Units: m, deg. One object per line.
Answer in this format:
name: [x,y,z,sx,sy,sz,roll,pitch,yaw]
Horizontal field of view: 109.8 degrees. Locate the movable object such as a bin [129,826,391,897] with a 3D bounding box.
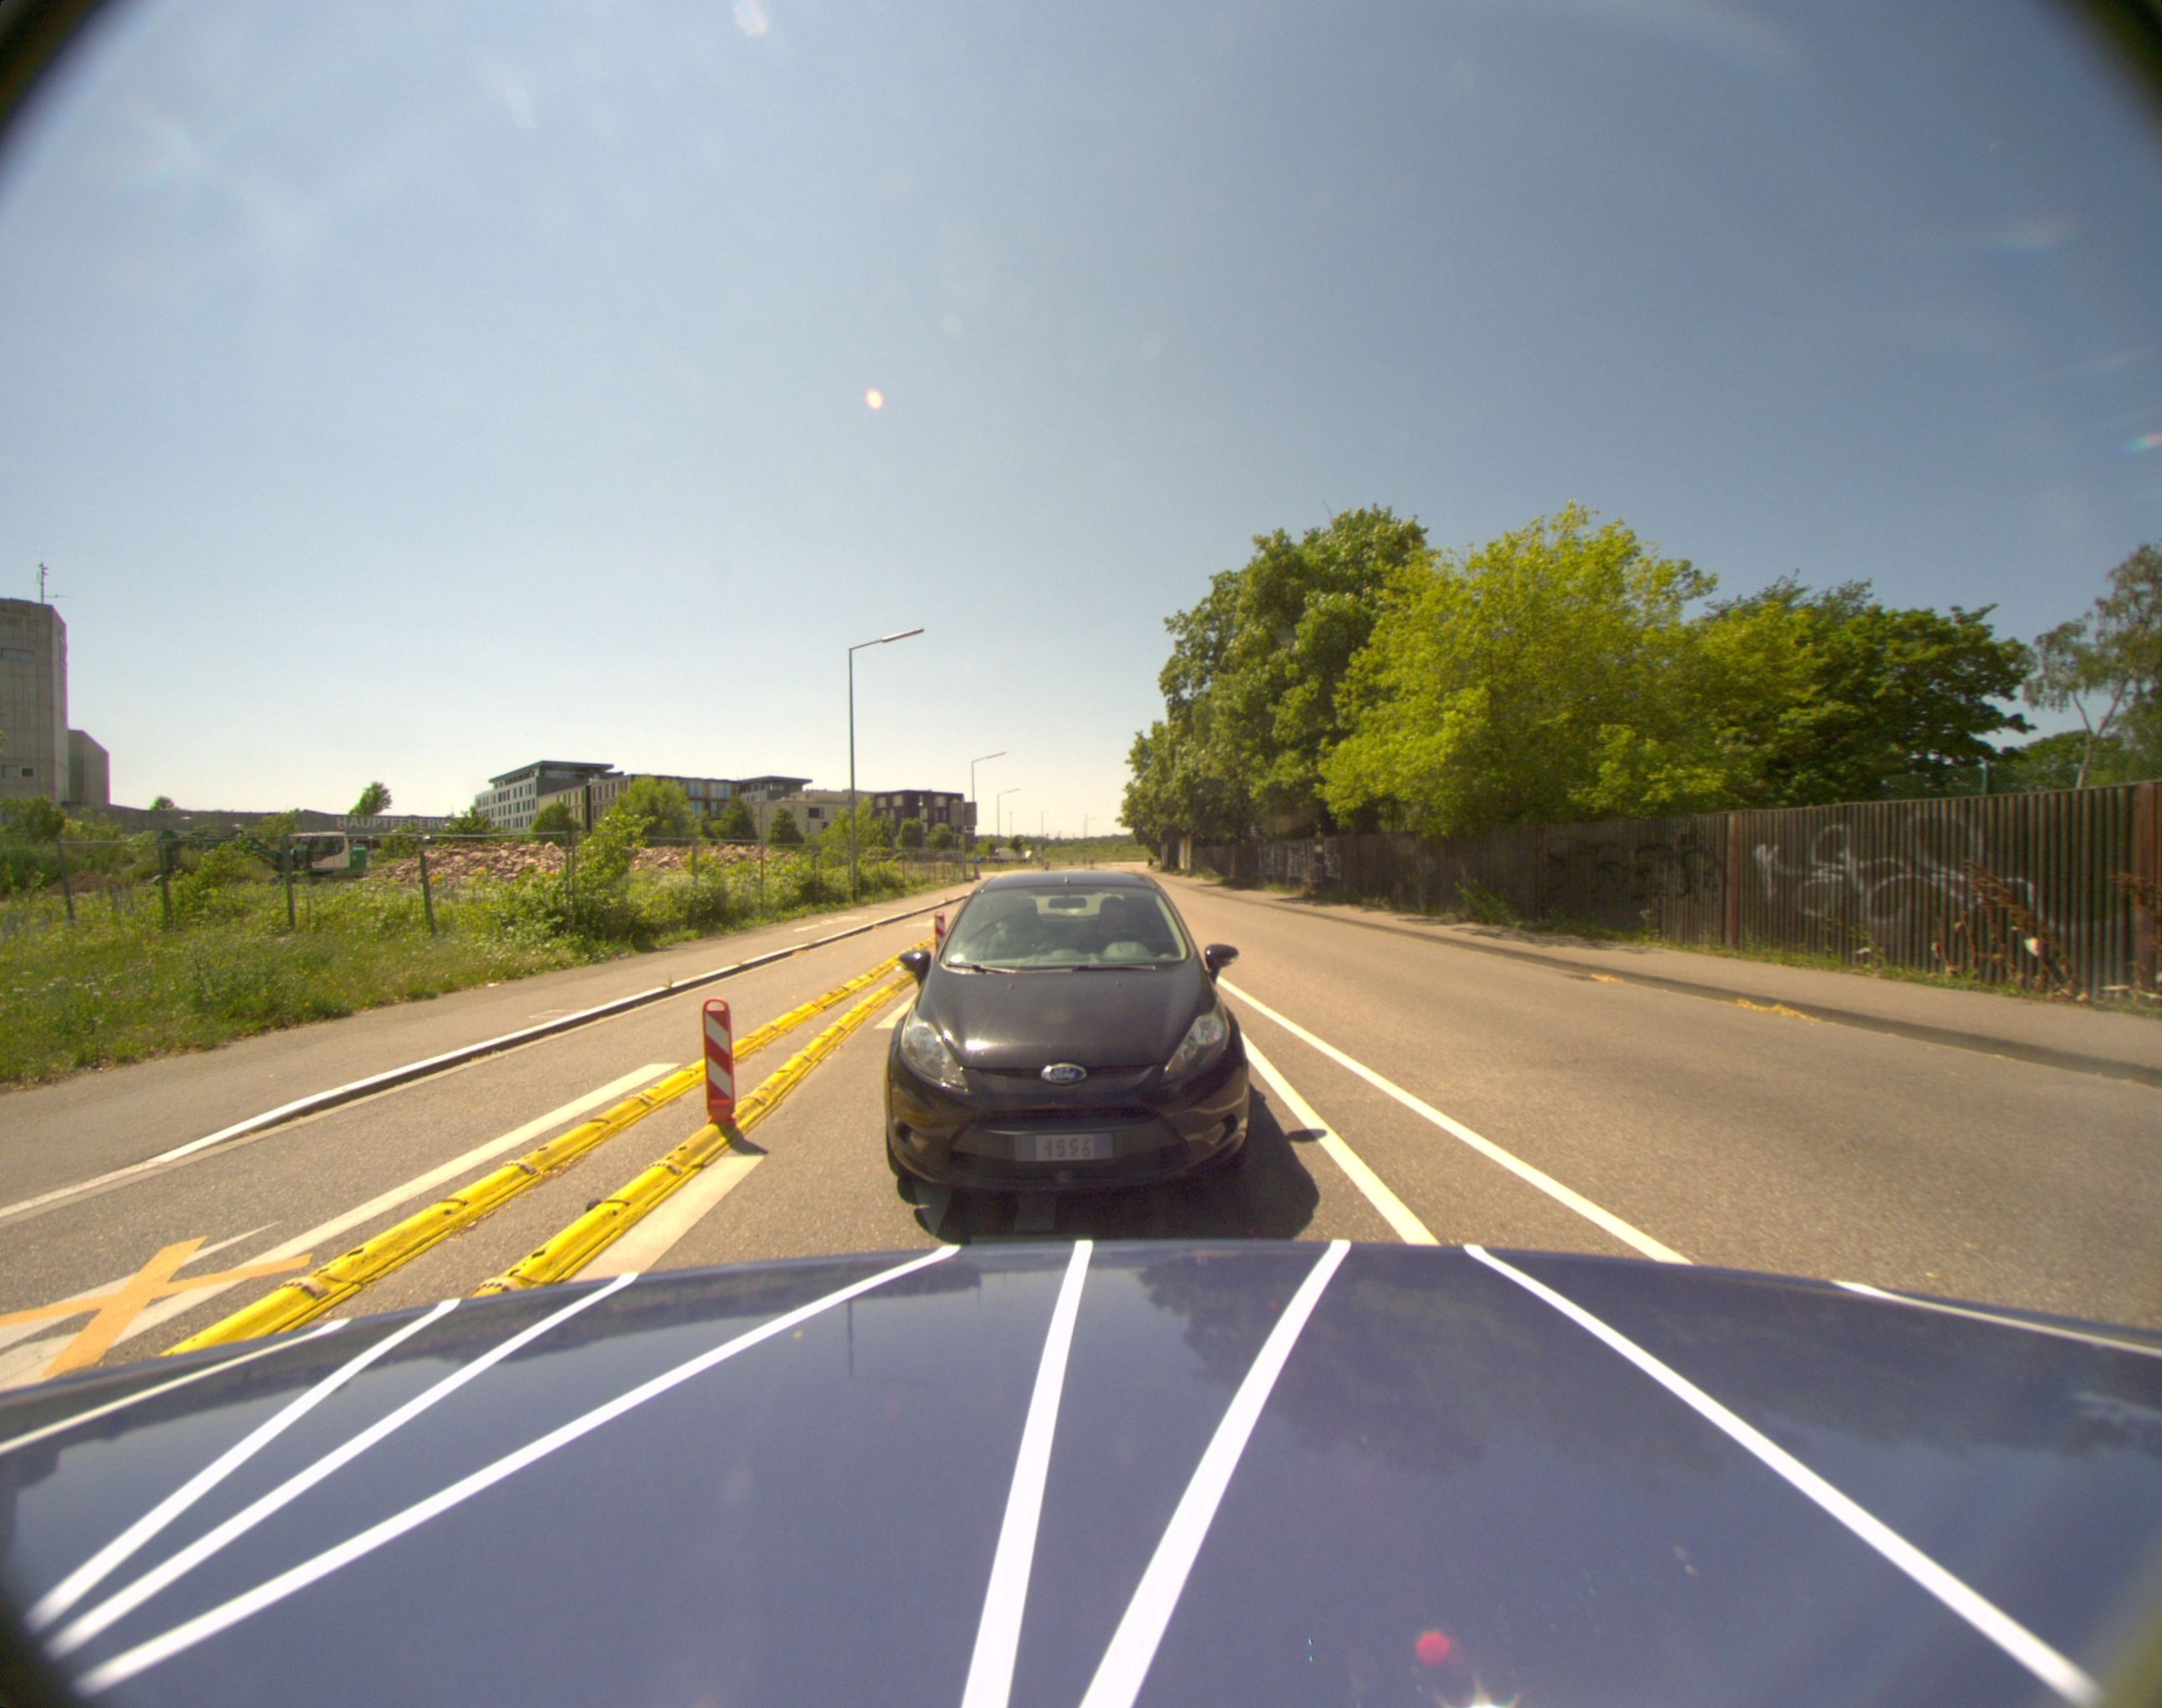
movable object such as a bin: [-38.320,0.268,36.010,3.231,2.899,7.702,-2,1,15]

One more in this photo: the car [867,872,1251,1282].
car: [-0.062,0.977,5.140,1.528,1.510,3.999,-2,1,1]
